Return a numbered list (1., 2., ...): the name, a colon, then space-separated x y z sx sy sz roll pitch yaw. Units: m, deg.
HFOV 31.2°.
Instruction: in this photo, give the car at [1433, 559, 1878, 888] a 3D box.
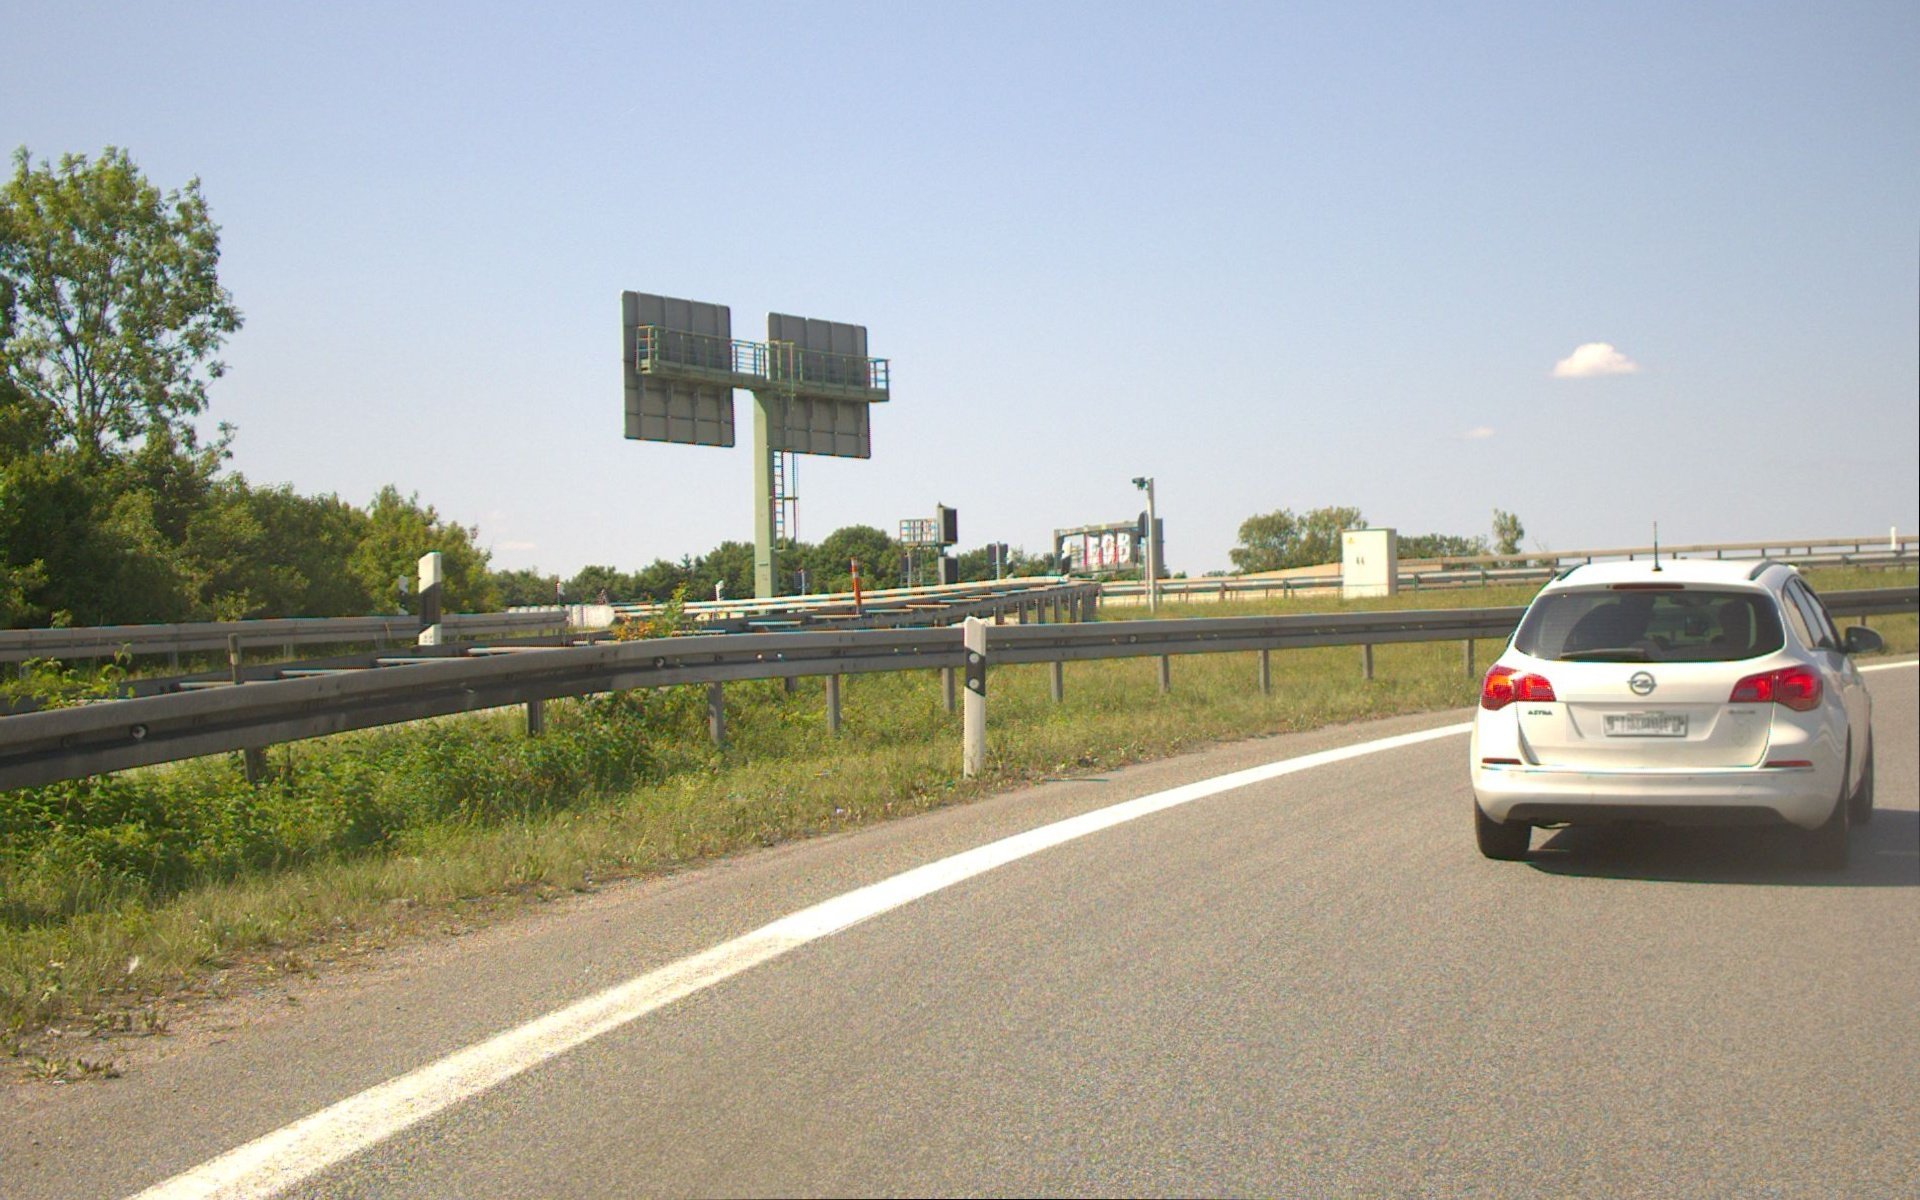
1. car: 3.733 0.532 17.866 1.856 1.438 4.368 0 1 17
